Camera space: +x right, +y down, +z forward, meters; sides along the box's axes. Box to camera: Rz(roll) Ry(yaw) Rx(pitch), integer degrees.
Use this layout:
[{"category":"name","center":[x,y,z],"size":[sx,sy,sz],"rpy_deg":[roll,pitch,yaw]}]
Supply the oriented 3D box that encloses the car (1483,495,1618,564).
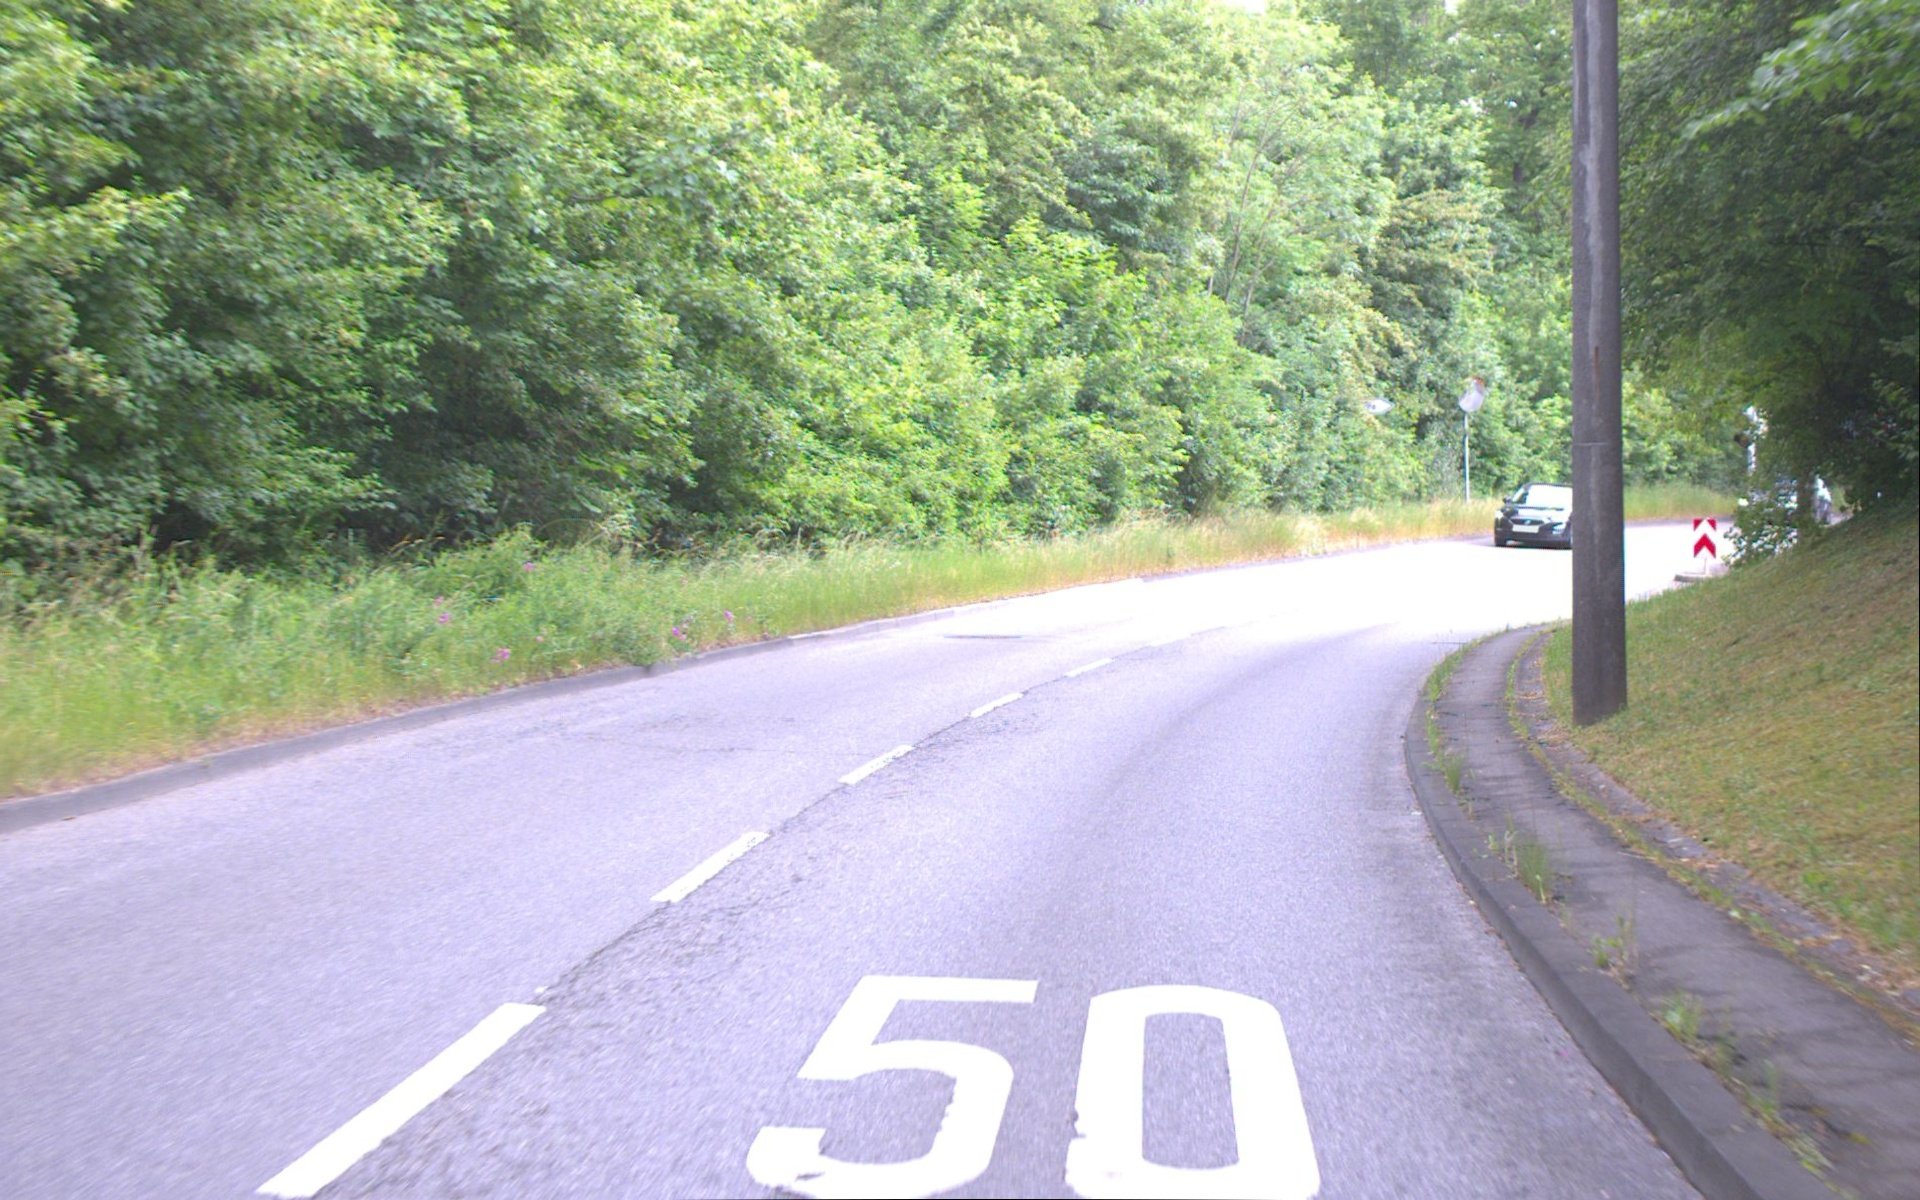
[{"category":"car","center":[13.376,-1.595,77.696],"size":[1.805,1.429,4.654],"rpy_deg":[4,2,25]}]

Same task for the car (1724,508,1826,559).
[{"category":"car","center":[23.954,-1.958,100.918],"size":[1.901,1.349,4.836],"rpy_deg":[4,3,25]}]
